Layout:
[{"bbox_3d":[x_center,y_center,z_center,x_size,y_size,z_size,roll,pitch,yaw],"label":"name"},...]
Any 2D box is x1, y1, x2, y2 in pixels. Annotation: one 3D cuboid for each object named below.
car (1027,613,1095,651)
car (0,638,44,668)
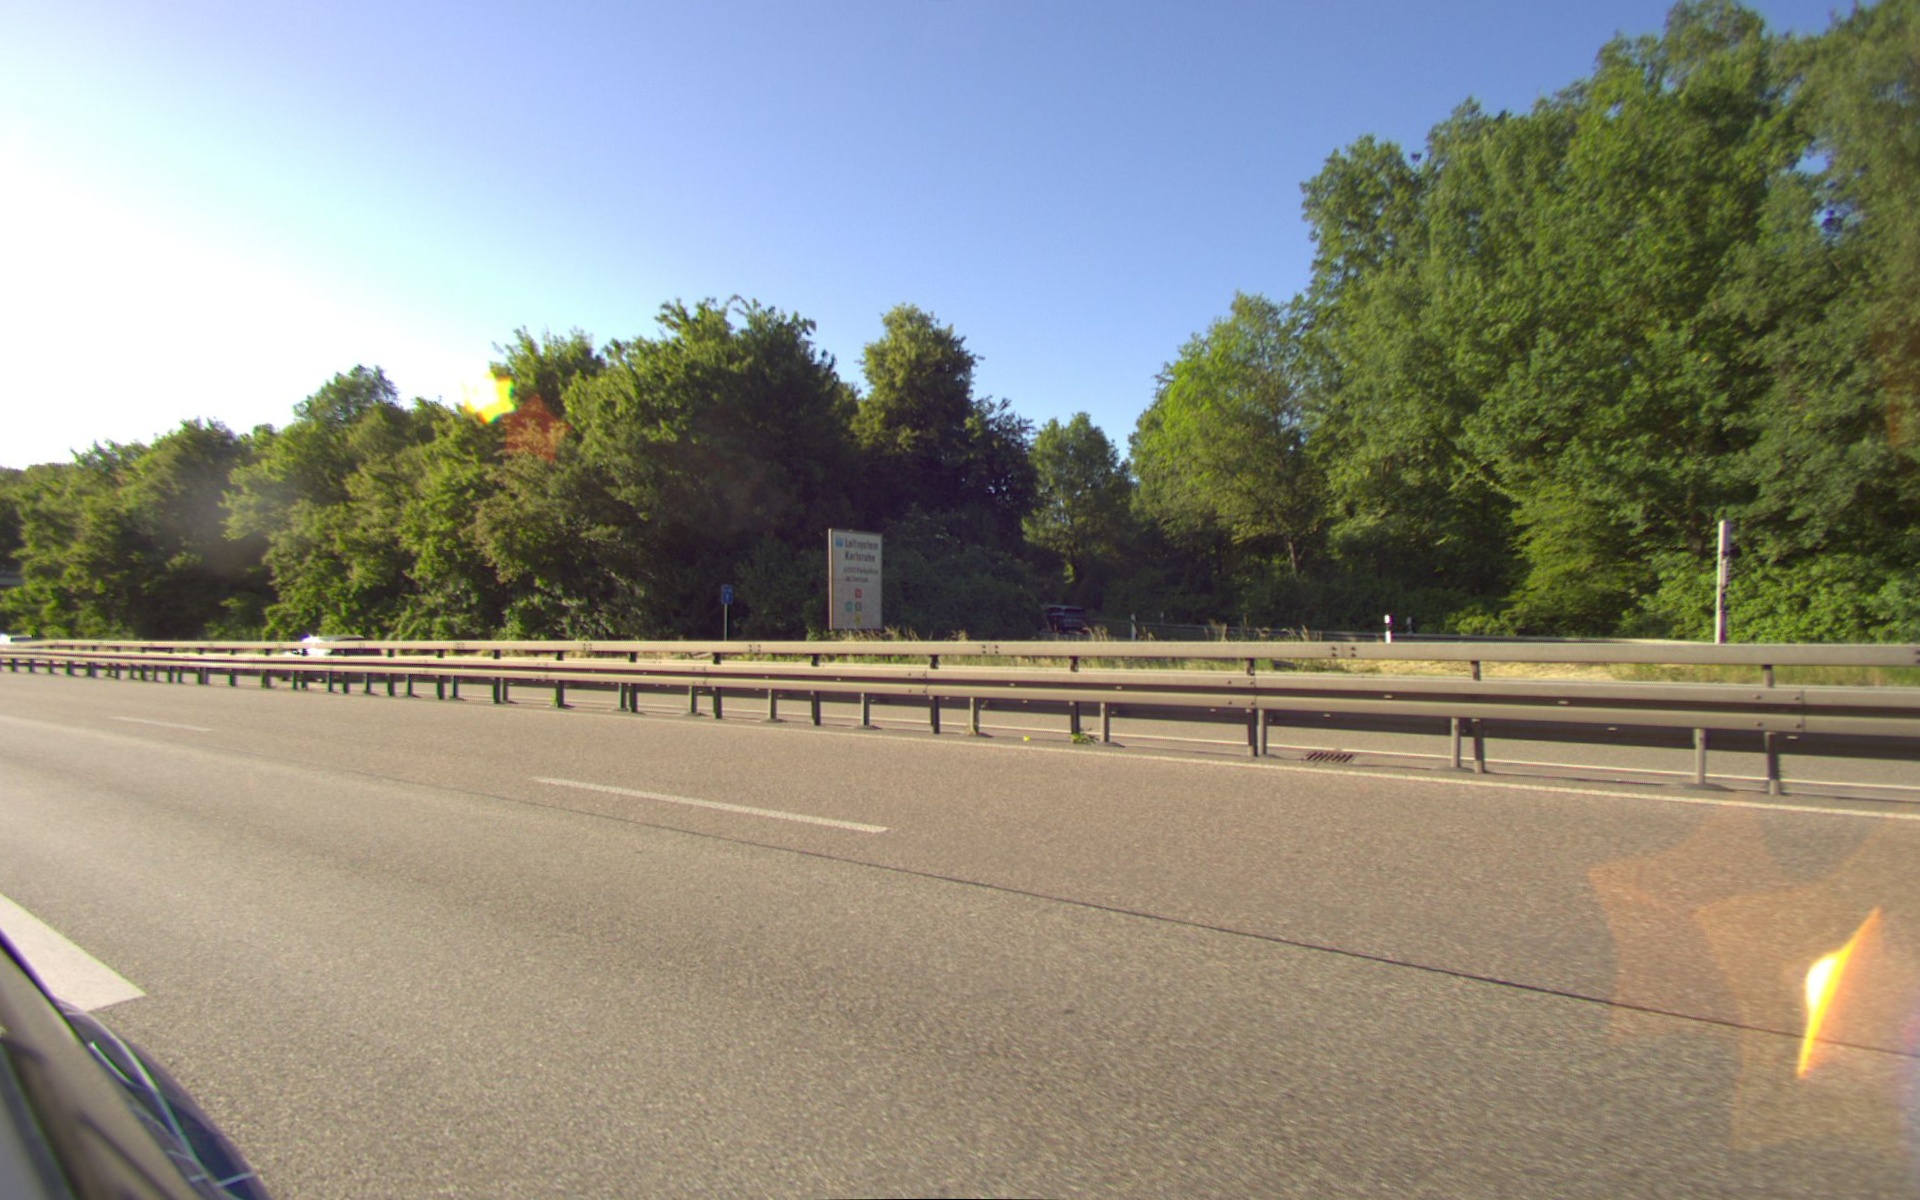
[{"bbox_3d":[5.344,1.677,54.204,1.966,1.874,4.679,-1,0,-17],"label":"car"},{"bbox_3d":[-56.052,3.109,59.496,4.404,1.662,1.980,-2,-2,29],"label":"car"}]
